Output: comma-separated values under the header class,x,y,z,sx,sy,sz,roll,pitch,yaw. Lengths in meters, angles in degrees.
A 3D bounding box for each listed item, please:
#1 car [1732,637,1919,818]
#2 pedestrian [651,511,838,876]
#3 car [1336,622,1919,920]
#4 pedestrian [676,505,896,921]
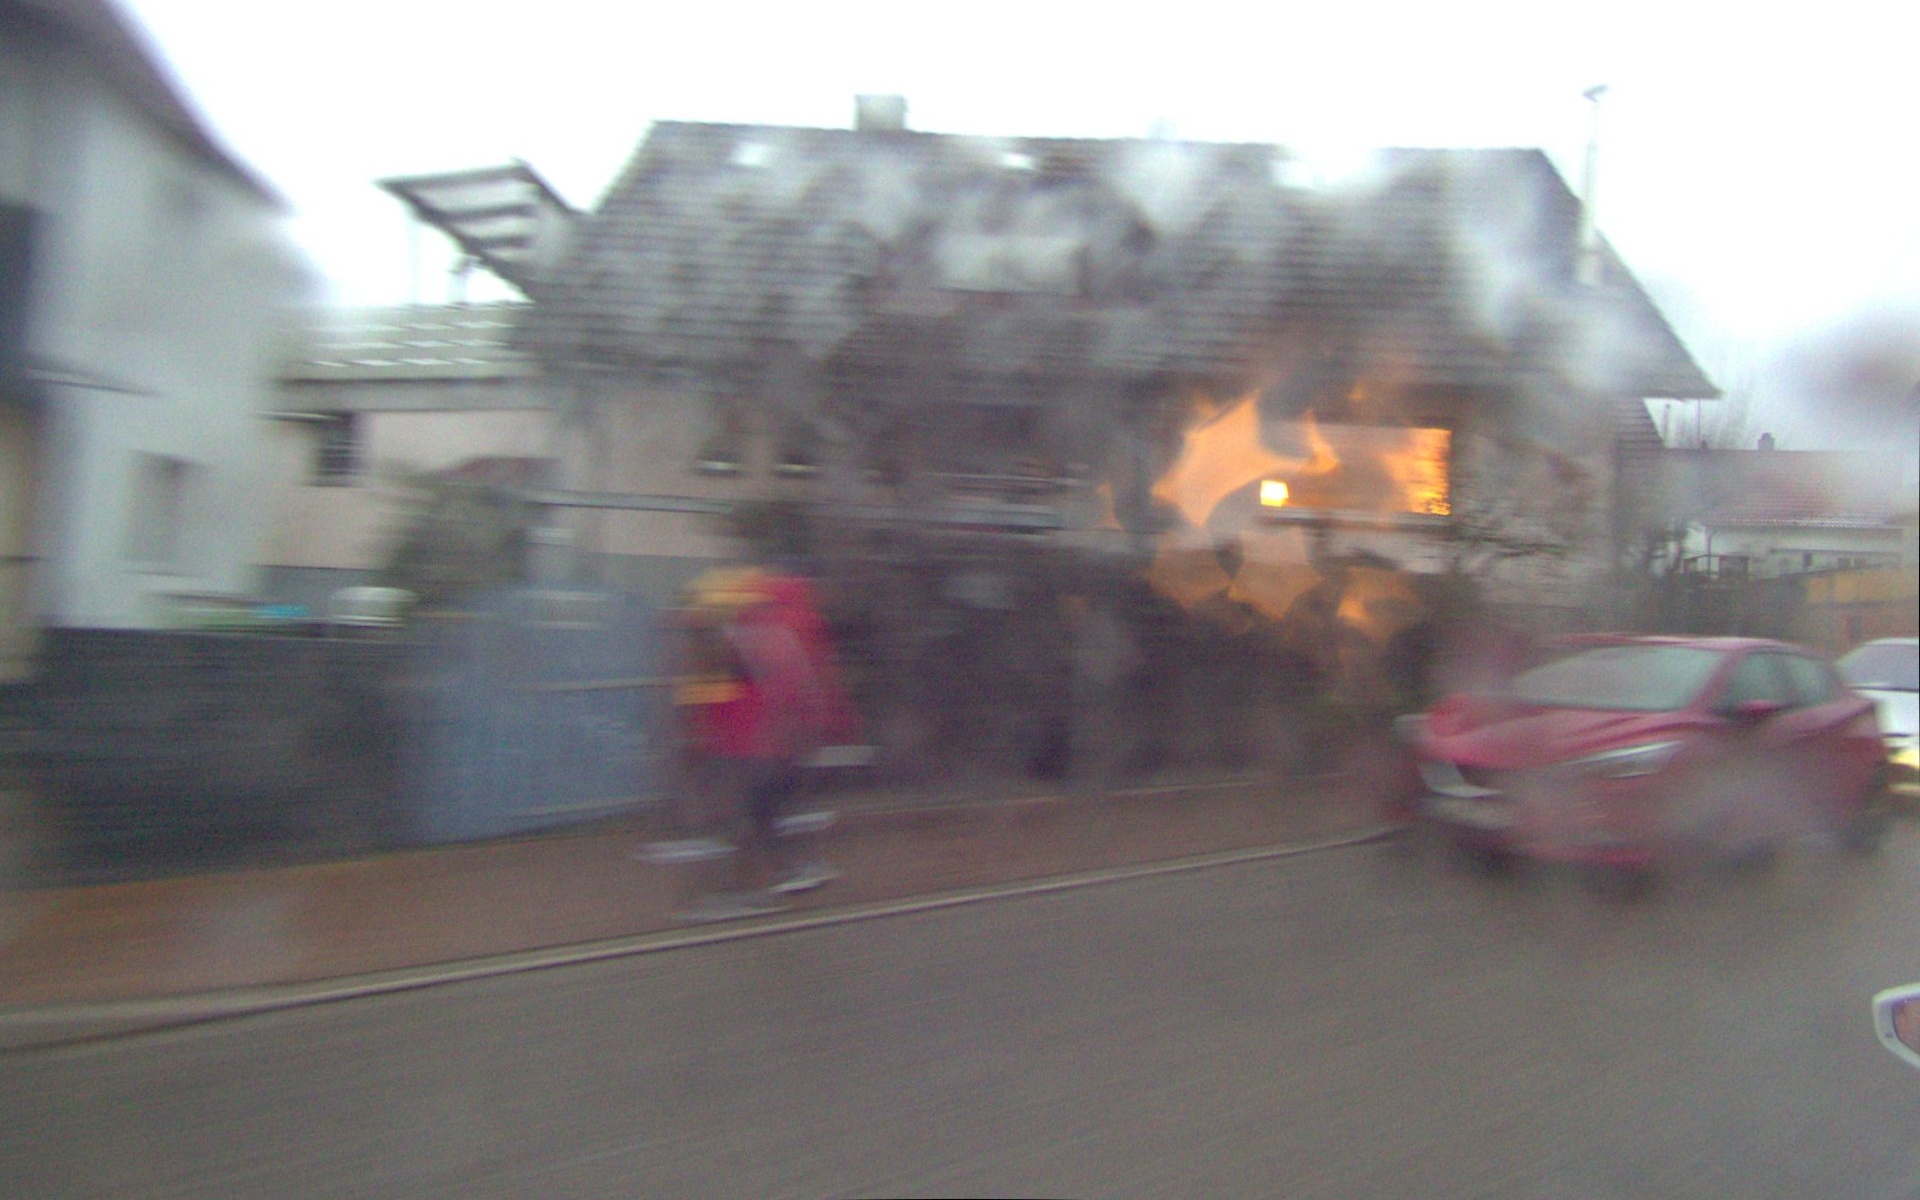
class,x,y,z,sx,sy,sz,roll,pitch,yaw
car,9.226,1.078,9.460,4.098,1.407,1.740,1,-1,-31
pedestrian,-1.220,0.489,5.654,0.803,1.894,0.595,2,1,-31
car,4.642,0.907,6.829,4.020,1.460,1.814,1,-1,-31
pedestrian,-0.851,0.501,4.858,0.802,1.803,0.702,2,0,-30
